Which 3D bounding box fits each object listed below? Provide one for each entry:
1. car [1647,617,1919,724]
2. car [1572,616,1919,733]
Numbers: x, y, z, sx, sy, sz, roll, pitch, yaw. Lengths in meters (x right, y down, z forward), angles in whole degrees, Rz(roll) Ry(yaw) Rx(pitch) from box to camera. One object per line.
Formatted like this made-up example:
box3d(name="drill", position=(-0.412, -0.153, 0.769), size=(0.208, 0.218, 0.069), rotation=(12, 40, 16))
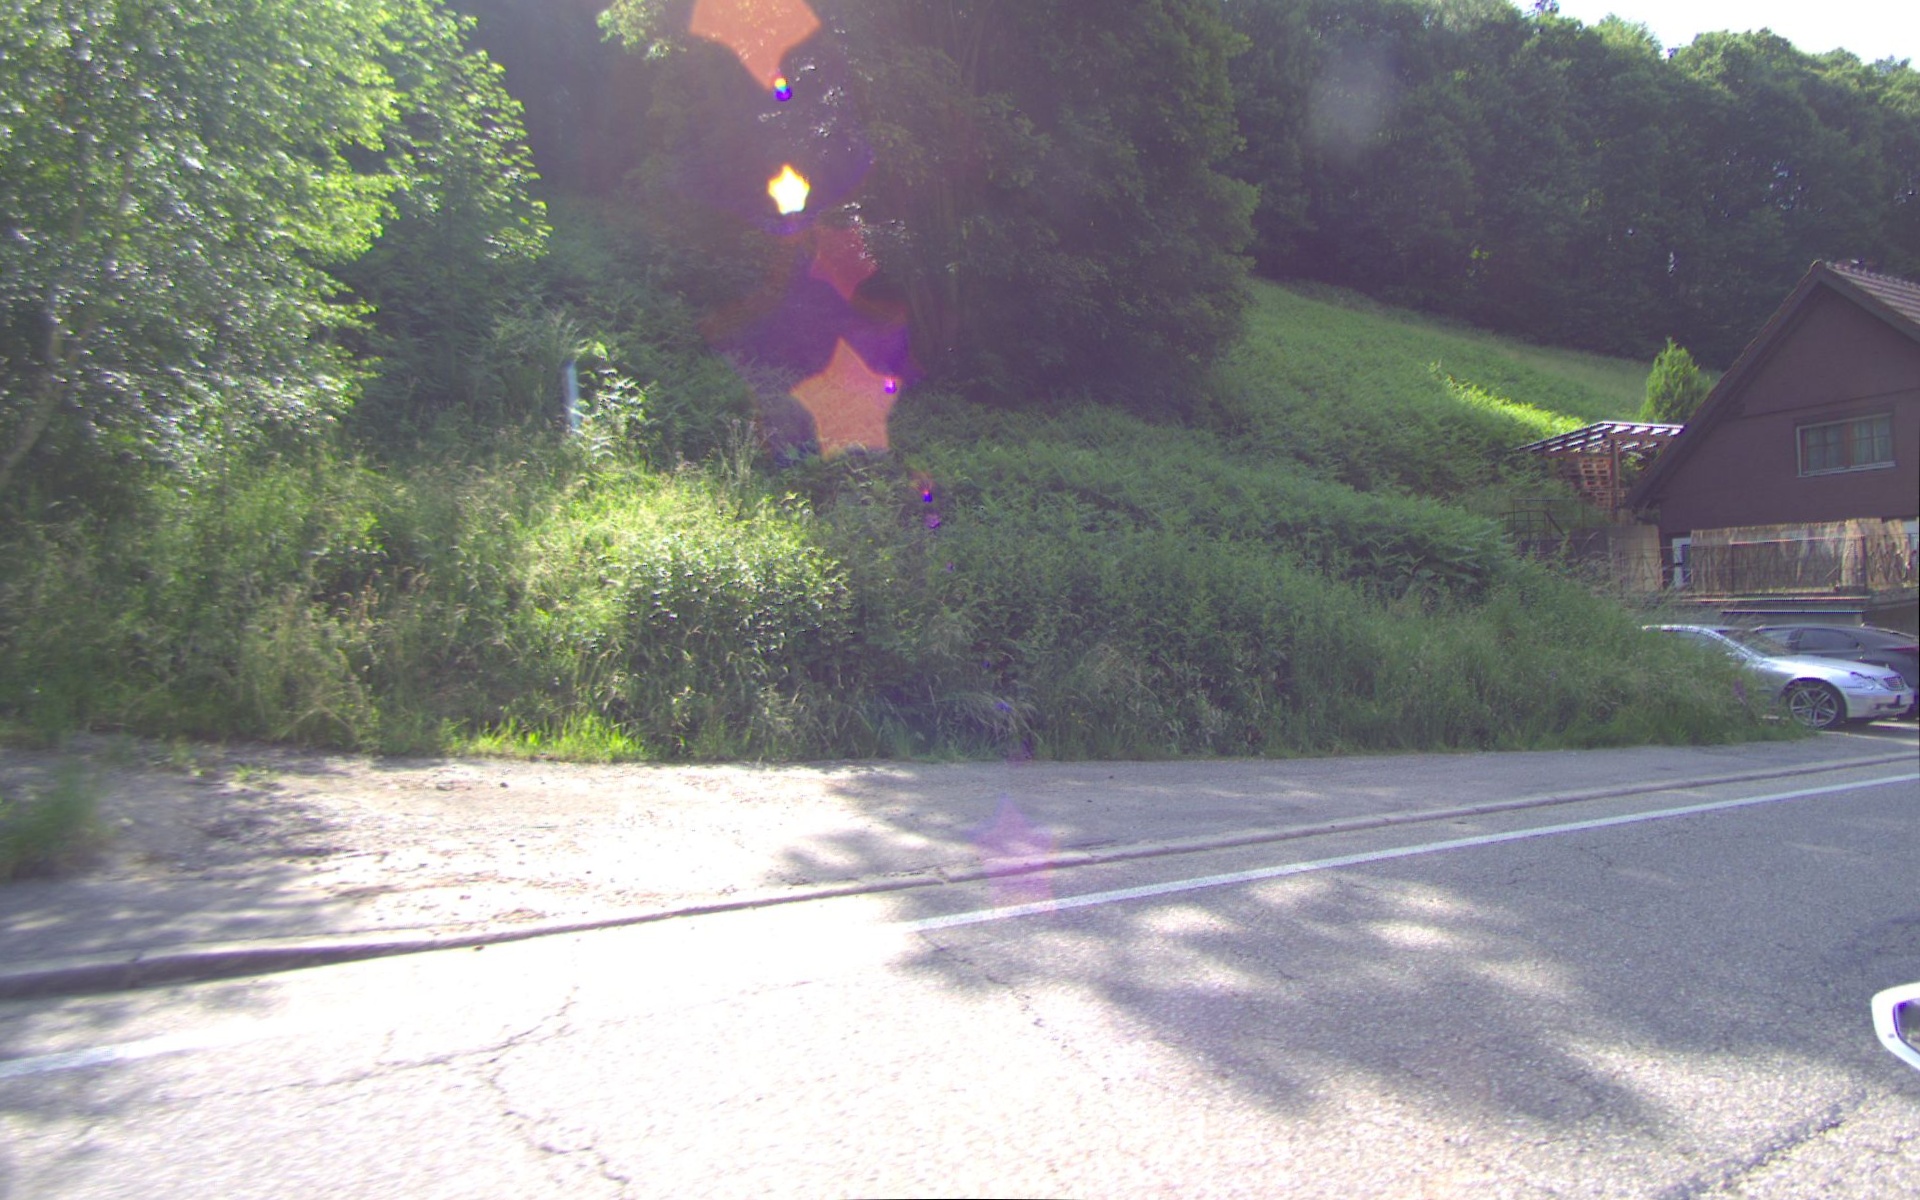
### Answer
box3d(name="car", position=(13.842, 1.048, 16.520), size=(1.839, 1.452, 3.804), rotation=(0, 0, -25))
box3d(name="car", position=(11.592, 0.992, 15.027), size=(1.832, 1.436, 3.804), rotation=(0, 0, -25))
